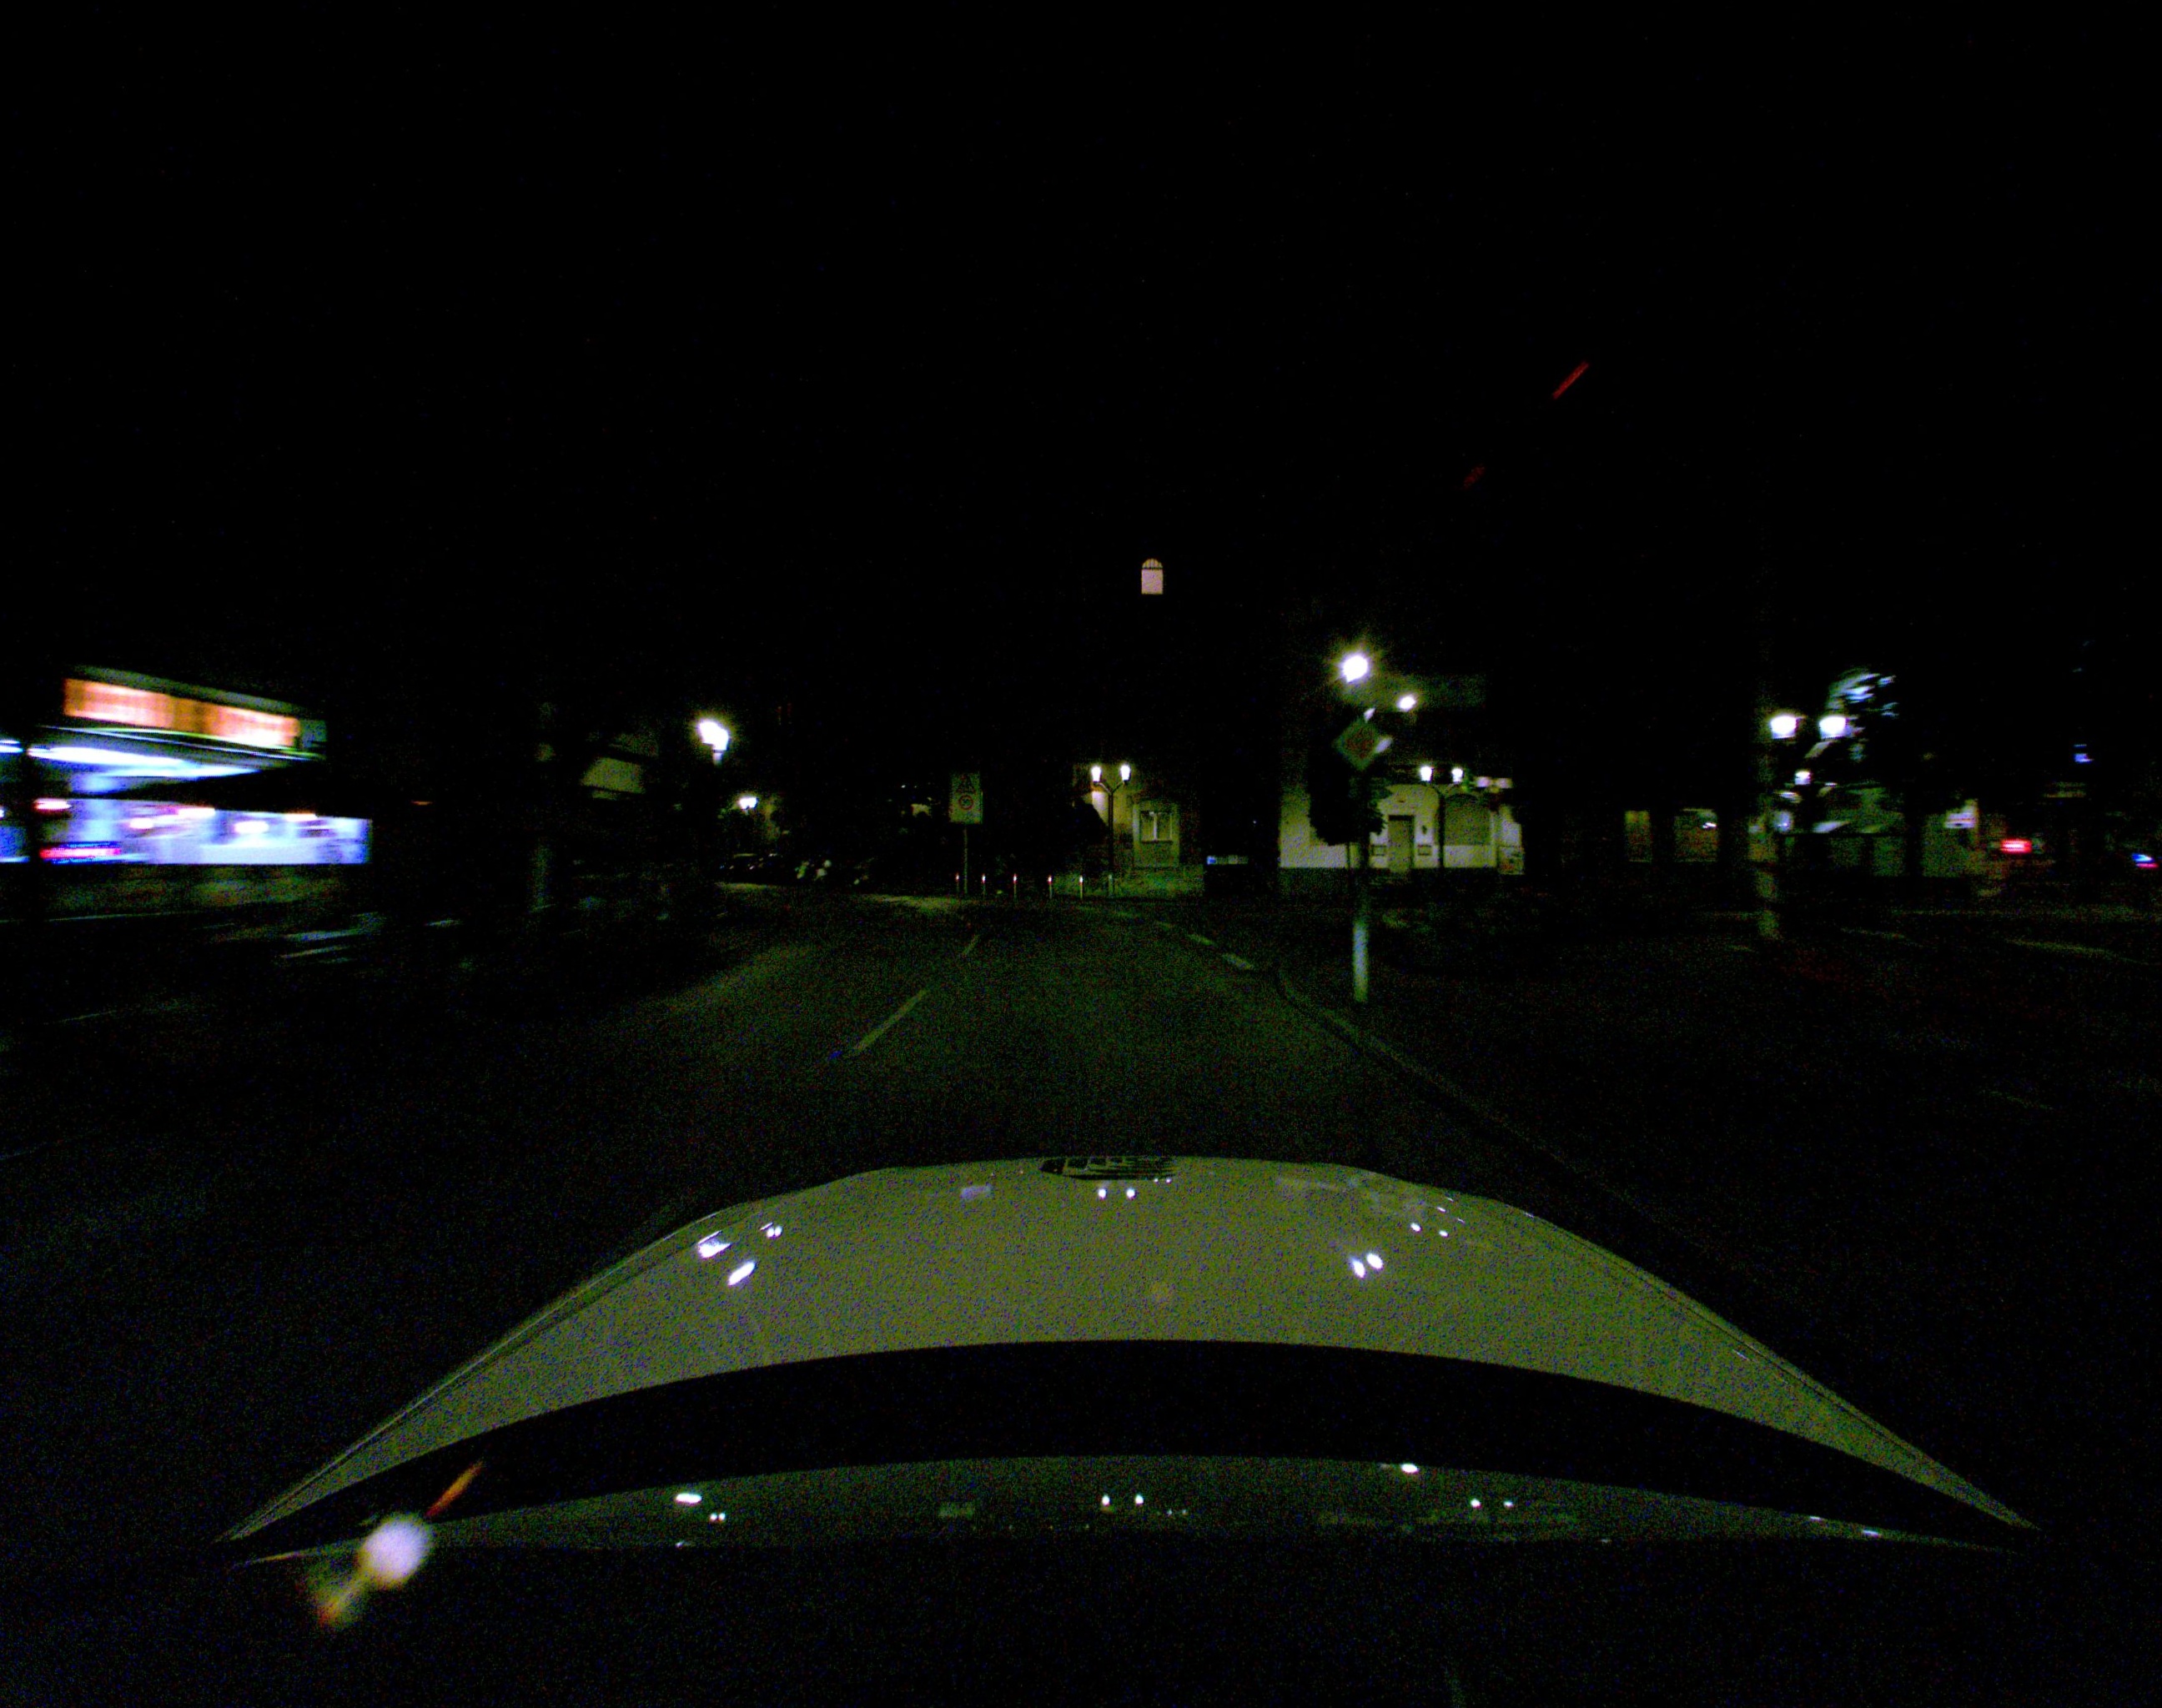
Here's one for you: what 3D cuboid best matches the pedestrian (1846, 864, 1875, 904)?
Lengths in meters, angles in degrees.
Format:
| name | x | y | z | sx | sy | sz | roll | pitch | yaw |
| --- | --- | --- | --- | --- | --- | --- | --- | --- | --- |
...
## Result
| name | x | y | z | sx | sy | sz | roll | pitch | yaw |
| --- | --- | --- | --- | --- | --- | --- | --- | --- | --- |
| pedestrian | 25.695 | 0.970 | 26.833 | 0.463 | 1.299 | 0.515 | 0 | 0 | 1 |

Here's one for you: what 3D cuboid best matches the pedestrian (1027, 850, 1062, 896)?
| name | x | y | z | sx | sy | sz | roll | pitch | yaw |
| --- | --- | --- | --- | --- | --- | --- | --- | --- | --- |
| pedestrian | -1.317 | 0.680 | 29.665 | 0.954 | 1.631 | 0.815 | 0 | -1 | 33 |

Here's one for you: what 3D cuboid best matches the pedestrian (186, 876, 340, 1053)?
| name | x | y | z | sx | sy | sz | roll | pitch | yaw |
| --- | --- | --- | --- | --- | --- | --- | --- | --- | --- |
| pedestrian | -6.748 | 0.878 | 6.751 | 0.675 | 1.378 | 0.575 | 0 | 0 | -6 |

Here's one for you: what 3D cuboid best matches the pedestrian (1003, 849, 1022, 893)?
| name | x | y | z | sx | sy | sz | roll | pitch | yaw |
| --- | --- | --- | --- | --- | --- | --- | --- | --- | --- |
| pedestrian | -2.711 | 0.665 | 32.282 | 0.564 | 1.709 | 0.481 | 0 | 0 | 45 |

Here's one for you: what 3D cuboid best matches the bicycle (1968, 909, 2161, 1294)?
| name | x | y | z | sx | sy | sz | roll | pitch | yaw |
| --- | --- | --- | --- | --- | --- | --- | --- | --- | --- |
| bicycle | 4.211 | 0.787 | 2.814 | 1.768 | 1.151 | 0.581 | 0 | 0 | -4 |

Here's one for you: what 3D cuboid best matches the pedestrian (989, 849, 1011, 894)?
| name | x | y | z | sx | sy | sz | roll | pitch | yaw |
| --- | --- | --- | --- | --- | --- | --- | --- | --- | --- |
| pedestrian | -3.130 | 0.659 | 31.465 | 0.696 | 1.709 | 0.511 | 0 | 0 | 45 |

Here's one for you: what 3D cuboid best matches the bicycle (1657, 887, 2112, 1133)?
| name | x | y | z | sx | sy | sz | roll | pitch | yaw |
| --- | --- | --- | --- | --- | --- | --- | --- | --- | --- |
| bicycle | 4.229 | 0.771 | 4.376 | 1.779 | 1.151 | 0.759 | 0 | 0 | -4 |

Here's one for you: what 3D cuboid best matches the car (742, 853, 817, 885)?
| name | x | y | z | sx | sy | sz | roll | pitch | yaw |
| --- | --- | --- | --- | --- | --- | --- | --- | --- | --- |
| car | -15.192 | 0.708 | 40.940 | 4.411 | 1.501 | 1.748 | 0 | 0 | 43 |

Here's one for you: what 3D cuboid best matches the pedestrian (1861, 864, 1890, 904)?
| name | x | y | z | sx | sy | sz | roll | pitch | yaw |
| --- | --- | --- | --- | --- | --- | --- | --- | --- | --- |
| pedestrian | 26.171 | 0.973 | 26.825 | 0.463 | 1.299 | 0.515 | 0 | 0 | 1 |

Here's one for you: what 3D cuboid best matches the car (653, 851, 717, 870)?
| name | x | y | z | sx | sy | sz | roll | pitch | yaw |
| --- | --- | --- | --- | --- | --- | --- | --- | --- | --- |
| car | -30.639 | 0.500 | 63.085 | 1.829 | 1.422 | 4.052 | -2 | -1 | 42 |

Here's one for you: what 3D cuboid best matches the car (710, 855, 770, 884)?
| name | x | y | z | sx | sy | sz | roll | pitch | yaw |
| --- | --- | --- | --- | --- | --- | --- | --- | --- | --- |
| car | -18.695 | 0.808 | 44.601 | 1.752 | 1.454 | 3.951 | 0 | 0 | -44 |

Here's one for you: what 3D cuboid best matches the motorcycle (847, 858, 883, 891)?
| name | x | y | z | sx | sy | sz | roll | pitch | yaw |
| --- | --- | --- | --- | --- | --- | --- | --- | --- | --- |
| motorcycle | -9.387 | 0.872 | 35.451 | 0.756 | 1.353 | 1.949 | 0 | 0 | 9 |

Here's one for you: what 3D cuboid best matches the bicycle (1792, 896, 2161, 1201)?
| name | x | y | z | sx | sy | sz | roll | pitch | yaw |
| --- | --- | --- | --- | --- | --- | --- | --- | --- | --- |
| bicycle | 4.218 | 0.779 | 3.556 | 1.768 | 1.151 | 0.613 | 0 | 0 | -4 |

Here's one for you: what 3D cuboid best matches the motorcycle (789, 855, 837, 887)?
| name | x | y | z | sx | sy | sz | roll | pitch | yaw |
| --- | --- | --- | --- | --- | --- | --- | --- | --- | --- |
| motorcycle | -12.895 | 0.799 | 39.250 | 0.912 | 1.406 | 2.073 | 0 | 2 | 35 |
